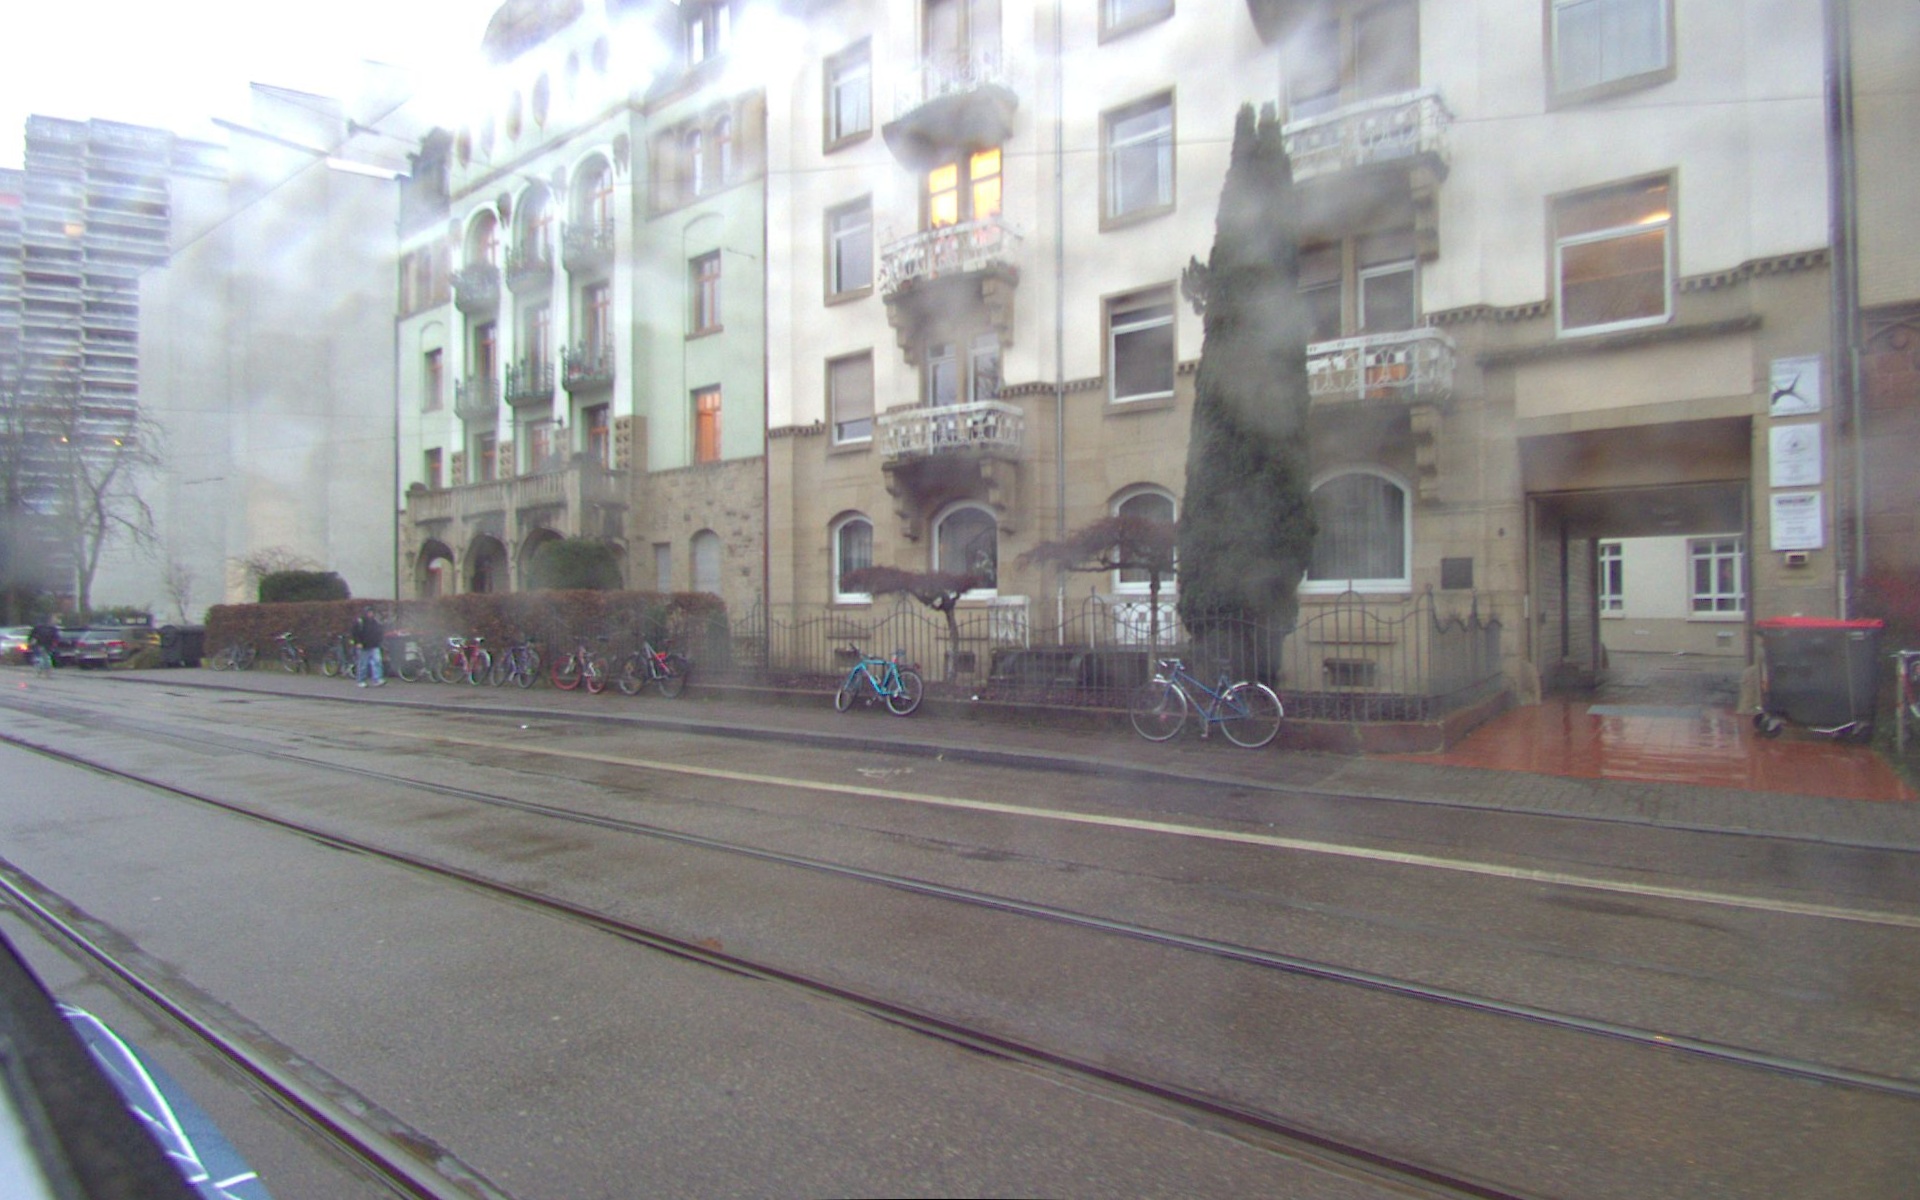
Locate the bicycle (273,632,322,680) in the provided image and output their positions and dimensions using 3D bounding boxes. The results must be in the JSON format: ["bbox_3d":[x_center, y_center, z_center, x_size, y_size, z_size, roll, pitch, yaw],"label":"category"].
[{"bbox_3d":[-17.292,1.446,26.411,1.661,1.221,0.617,-2,-2,40],"label":"bicycle"}]

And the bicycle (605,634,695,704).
[{"bbox_3d":[-5.377,1.161,17.482,1.781,1.134,0.617,-2,-2,40],"label":"bicycle"}]

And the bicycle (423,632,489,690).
[{"bbox_3d":[-10.637,1.265,21.342,1.661,1.173,0.617,-2,-2,40],"label":"bicycle"}]

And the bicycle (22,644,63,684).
[{"bbox_3d":[-26.715,1.837,29.460,1.946,1.101,0.617,-2,-2,40],"label":"bicycle"}]

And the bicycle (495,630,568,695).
[{"bbox_3d":[-8.387,1.201,19.776,1.661,1.221,0.617,-2,-2,40],"label":"bicycle"}]

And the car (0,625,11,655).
[{"bbox_3d":[-52.682,2.170,53.196,1.843,1.608,3.999,-1,-1,0],"label":"car"}]

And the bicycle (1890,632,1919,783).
[{"bbox_3d":[8.616,0.896,8.716,0.694,1.114,2.326,-2,1,38],"label":"bicycle"}]

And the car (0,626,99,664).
[{"bbox_3d":[-41.926,2.012,46.230,1.843,1.608,3.999,-1,-1,0],"label":"car"}]

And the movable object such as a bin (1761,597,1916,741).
[{"bbox_3d":[9.320,0.691,10.804,1.166,1.390,1.092,-2,1,39],"label":"movable object such as a bin"}]

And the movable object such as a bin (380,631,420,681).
[{"bbox_3d":[-13.649,1.351,24.659,0.674,1.173,0.651,-2,-2,40],"label":"movable object such as a bin"}]

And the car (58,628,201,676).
[{"bbox_3d":[-28.745,1.756,35.203,1.740,1.497,3.999,-1,-1,0],"label":"car"}]

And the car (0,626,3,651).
[{"bbox_3d":[-62.794,2.492,63.464,1.843,1.608,3.999,-1,-1,0],"label":"car"}]

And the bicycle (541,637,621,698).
[{"bbox_3d":[-7.015,1.223,18.693,1.725,1.073,0.617,-2,-2,40],"label":"bicycle"}]

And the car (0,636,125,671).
[{"bbox_3d":[-34.011,1.997,38.399,1.687,1.262,3.666,0,-2,-1],"label":"car"}]

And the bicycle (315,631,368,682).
[{"bbox_3d":[-15.391,1.391,25.169,1.661,1.221,0.617,-2,-2,40],"label":"bicycle"}]

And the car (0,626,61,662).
[{"bbox_3d":[-44.761,2.040,47.386,1.843,1.608,3.999,-1,-1,0],"label":"car"}]

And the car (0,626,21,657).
[{"bbox_3d":[-50.067,2.123,50.979,1.843,1.608,3.999,-1,-1,0],"label":"car"}]

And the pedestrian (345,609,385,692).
[{"bbox_3d":[-12.831,1.068,21.825,0.644,1.738,0.567,0,1,41],"label":"pedestrian"}]

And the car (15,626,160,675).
[{"bbox_3d":[-31.536,1.775,36.734,1.843,1.608,3.999,-1,-1,0],"label":"car"}]

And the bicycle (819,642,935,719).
[{"bbox_3d":[-1.182,1.102,14.219,1.661,1.010,0.617,-2,-2,40],"label":"bicycle"}]

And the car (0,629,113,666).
[{"bbox_3d":[-39.087,2.009,43.606,1.843,1.460,3.999,-1,-1,0],"label":"car"}]

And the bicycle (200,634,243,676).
[{"bbox_3d":[-21.542,1.592,29.500,1.661,1.173,0.617,-2,-1,40],"label":"bicycle"}]

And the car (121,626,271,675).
[{"bbox_3d":[-26.140,1.689,34.815,1.847,1.505,3.989,-1,-1,8],"label":"car"}]

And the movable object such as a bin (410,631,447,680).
[{"bbox_3d":[-13.221,1.365,25.169,0.674,1.173,0.617,-2,-2,40],"label":"movable object such as a bin"}]

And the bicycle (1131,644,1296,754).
[{"bbox_3d":[2.770,1.054,11.164,1.661,1.101,0.617,-2,-2,40],"label":"bicycle"}]

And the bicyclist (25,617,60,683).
[{"bbox_3d":[-26.665,1.436,29.409,0.990,1.891,0.617,-2,-2,40],"label":"bicyclist"}]

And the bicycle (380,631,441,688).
[{"bbox_3d":[-12.249,1.303,22.554,1.661,1.221,0.617,-2,-2,40],"label":"bicycle"}]
